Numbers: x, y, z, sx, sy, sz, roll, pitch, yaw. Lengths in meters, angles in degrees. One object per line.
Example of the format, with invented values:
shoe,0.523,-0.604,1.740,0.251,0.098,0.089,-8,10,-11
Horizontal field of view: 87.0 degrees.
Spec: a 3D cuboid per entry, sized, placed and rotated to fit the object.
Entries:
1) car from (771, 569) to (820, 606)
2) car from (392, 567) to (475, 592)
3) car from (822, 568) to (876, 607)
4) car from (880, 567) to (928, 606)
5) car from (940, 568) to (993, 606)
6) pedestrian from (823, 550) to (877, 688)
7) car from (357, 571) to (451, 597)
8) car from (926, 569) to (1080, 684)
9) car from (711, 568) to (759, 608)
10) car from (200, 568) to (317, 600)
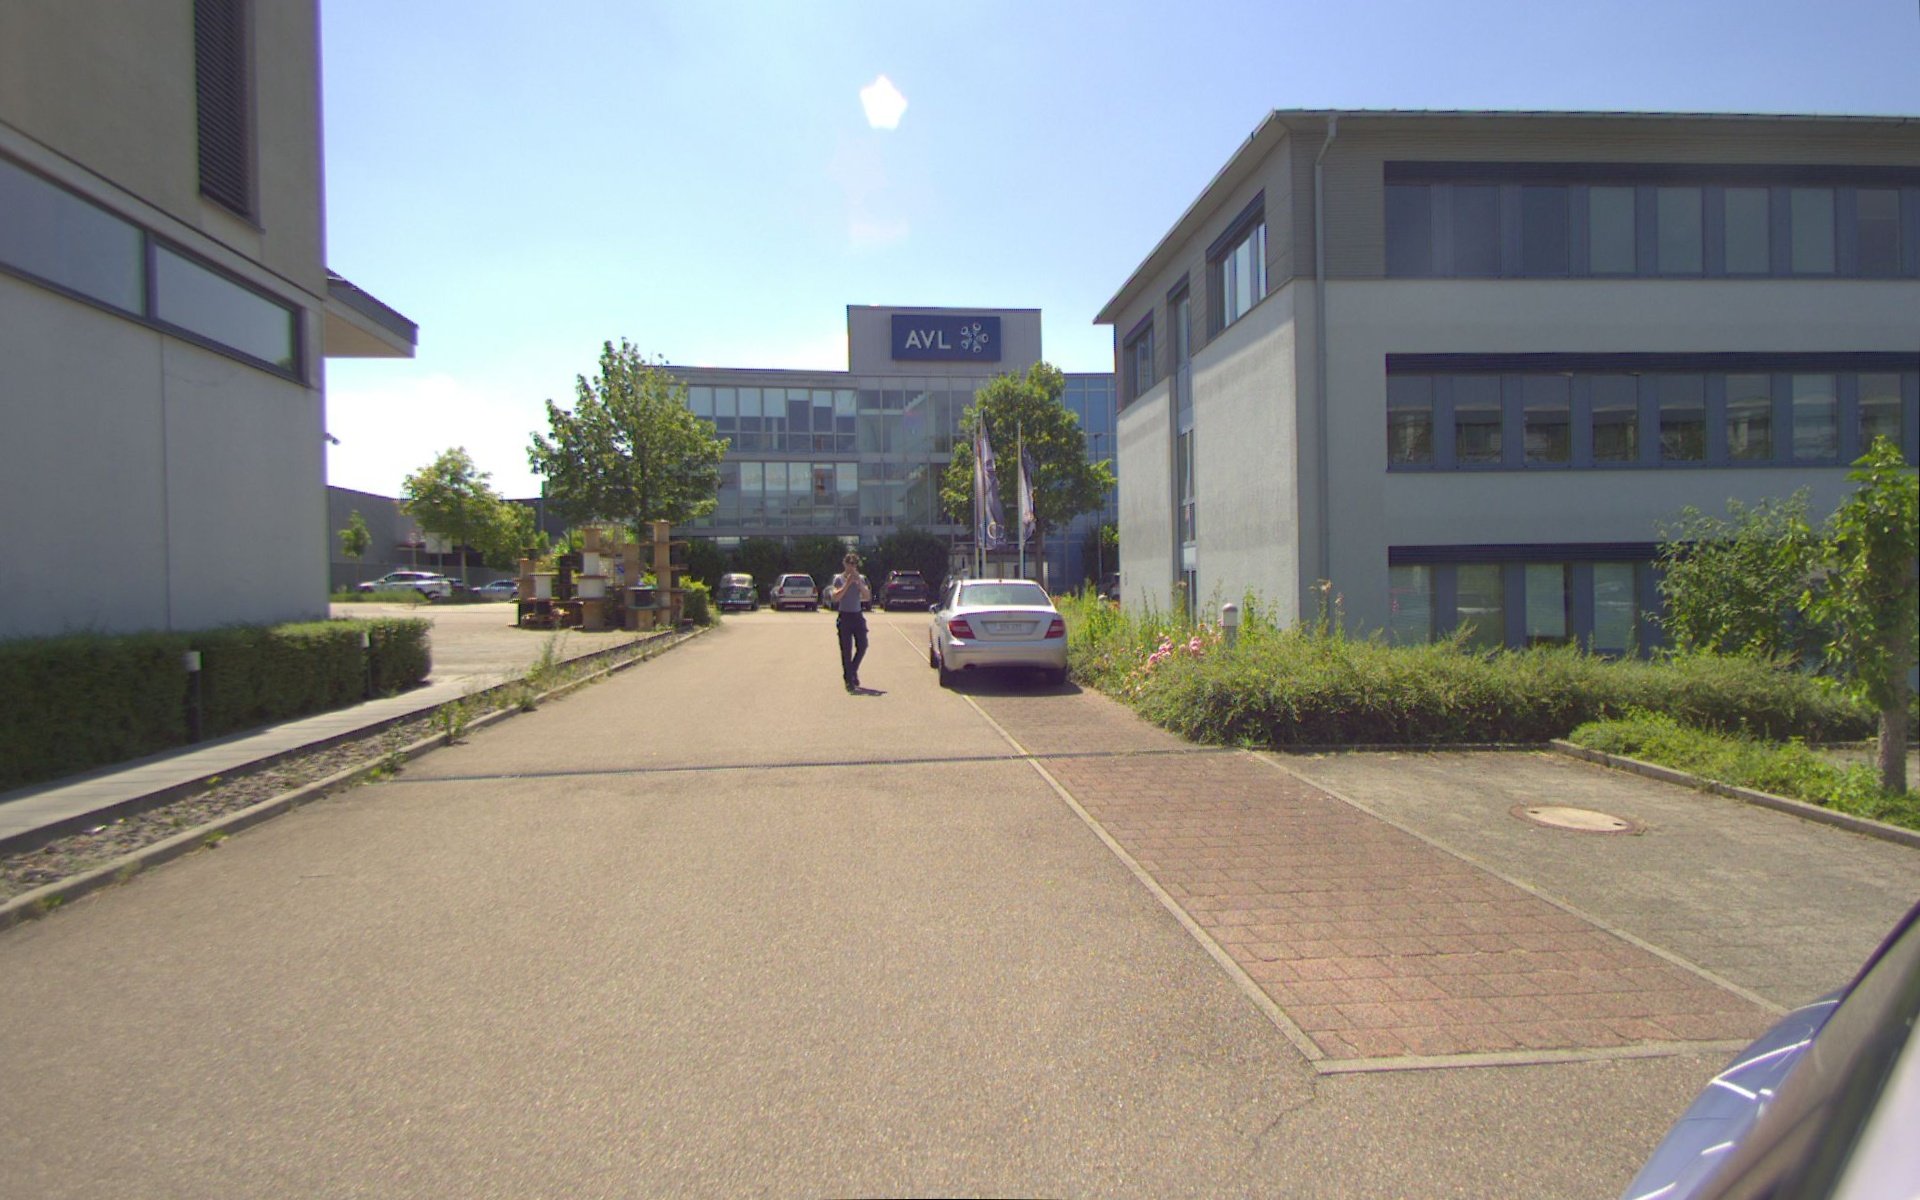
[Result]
car,-6.776,-0.520,41.468,1.639,1.459,4.008,0,1,-14
car,-30.667,-1.175,59.019,3.995,1.433,1.746,0,0,6
car,-4.685,-0.533,42.372,1.713,1.538,4.008,0,1,-14
car,-2.392,-0.560,42.277,1.714,1.538,4.006,0,1,-7
car,0.238,-0.535,42.761,1.714,1.538,4.006,0,1,-7
pedestrian,-1.482,0.242,13.588,0.606,1.779,0.790,0,0,-15
car,-30.825,-0.890,56.187,4.371,1.433,1.746,0,0,6
car,0.492,0.311,14.673,1.695,1.454,3.721,0,1,-6
car,-9.053,-0.486,40.920,1.713,1.538,4.007,0,1,-10
car,-32.144,-0.724,46.420,4.372,1.433,1.746,0,0,8
